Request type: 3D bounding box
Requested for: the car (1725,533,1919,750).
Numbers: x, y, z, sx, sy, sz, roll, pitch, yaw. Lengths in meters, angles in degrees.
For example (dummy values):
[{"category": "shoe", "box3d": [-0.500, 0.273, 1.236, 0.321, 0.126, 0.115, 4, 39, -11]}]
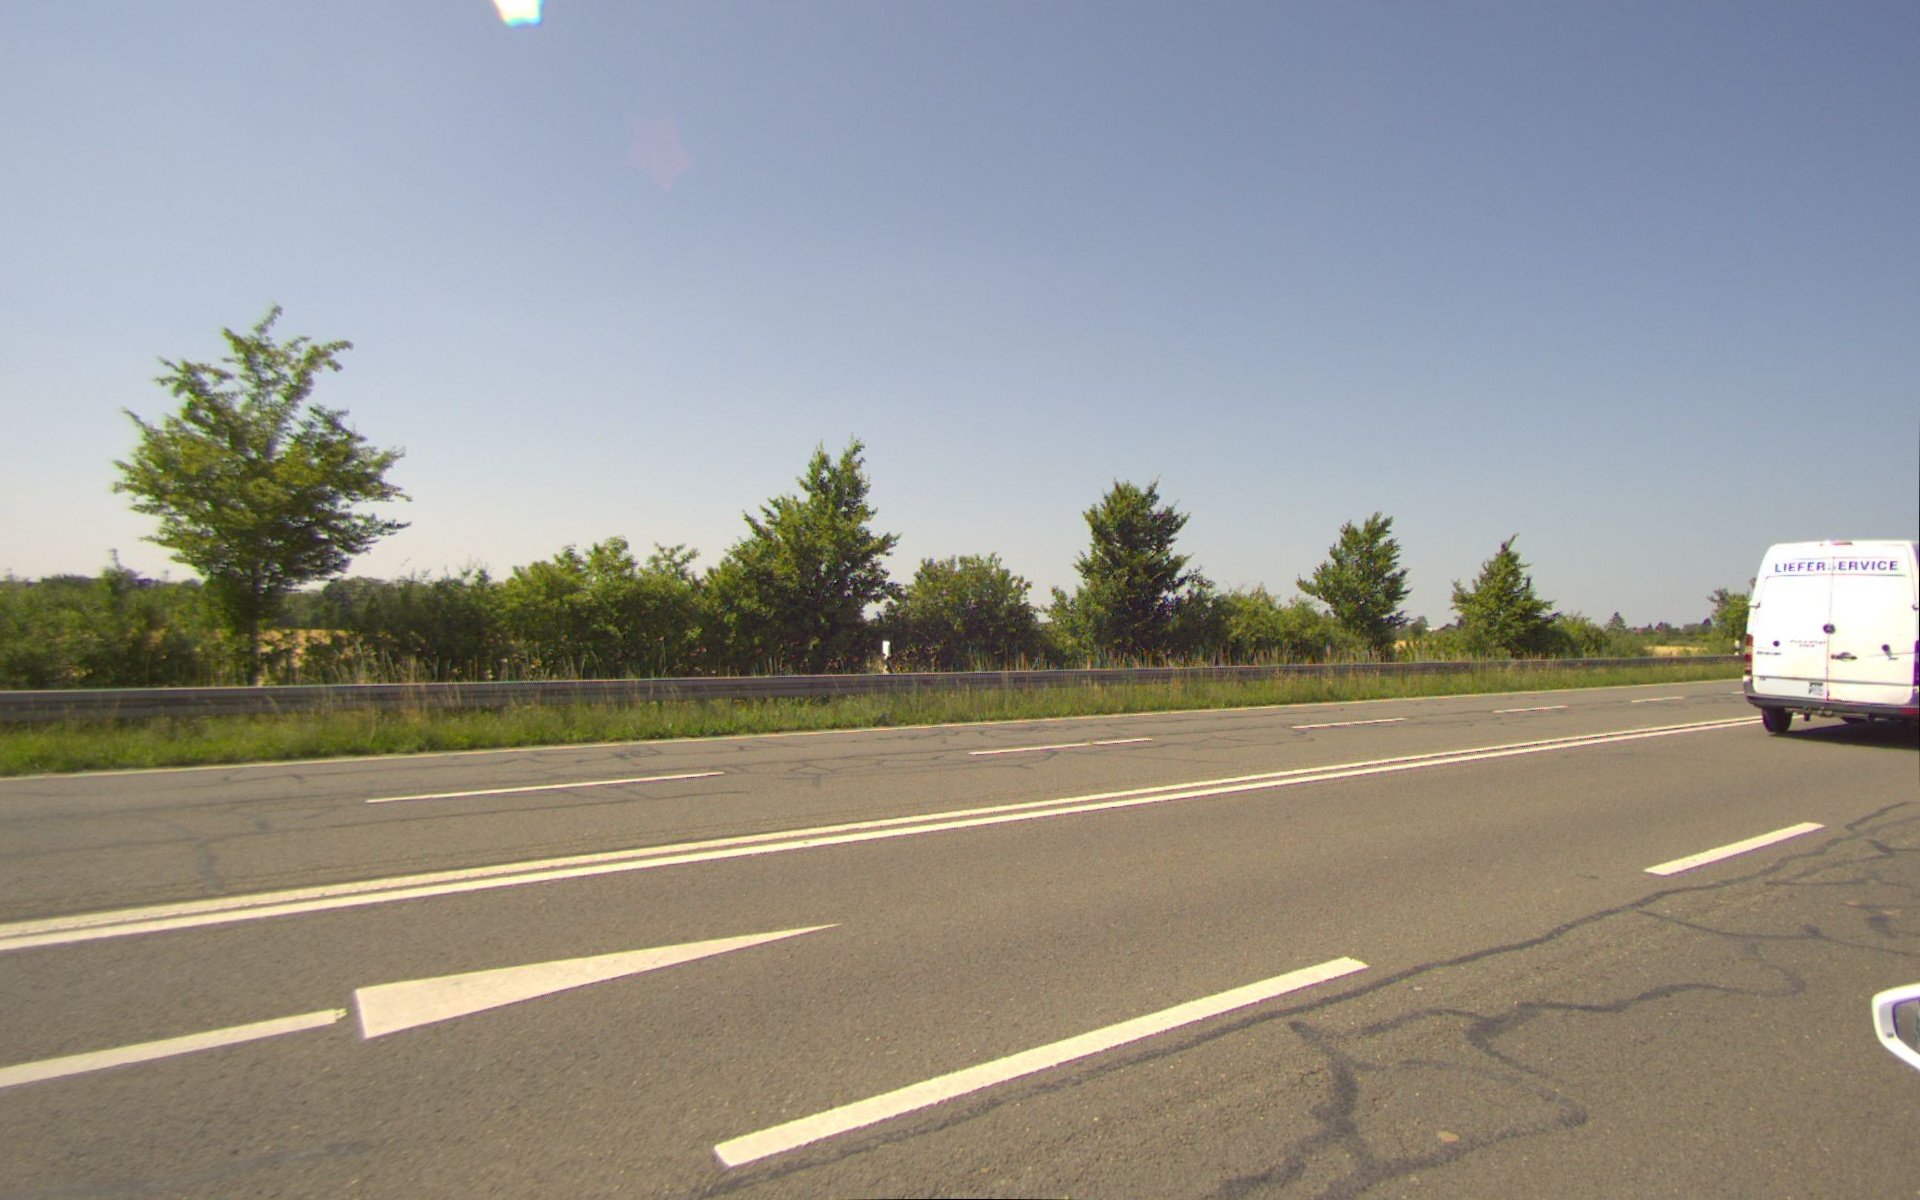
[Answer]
[{"category": "car", "box3d": [13.531, 0.592, 14.654, 5.681, 2.654, 2.027, 2, -1, -34]}]
